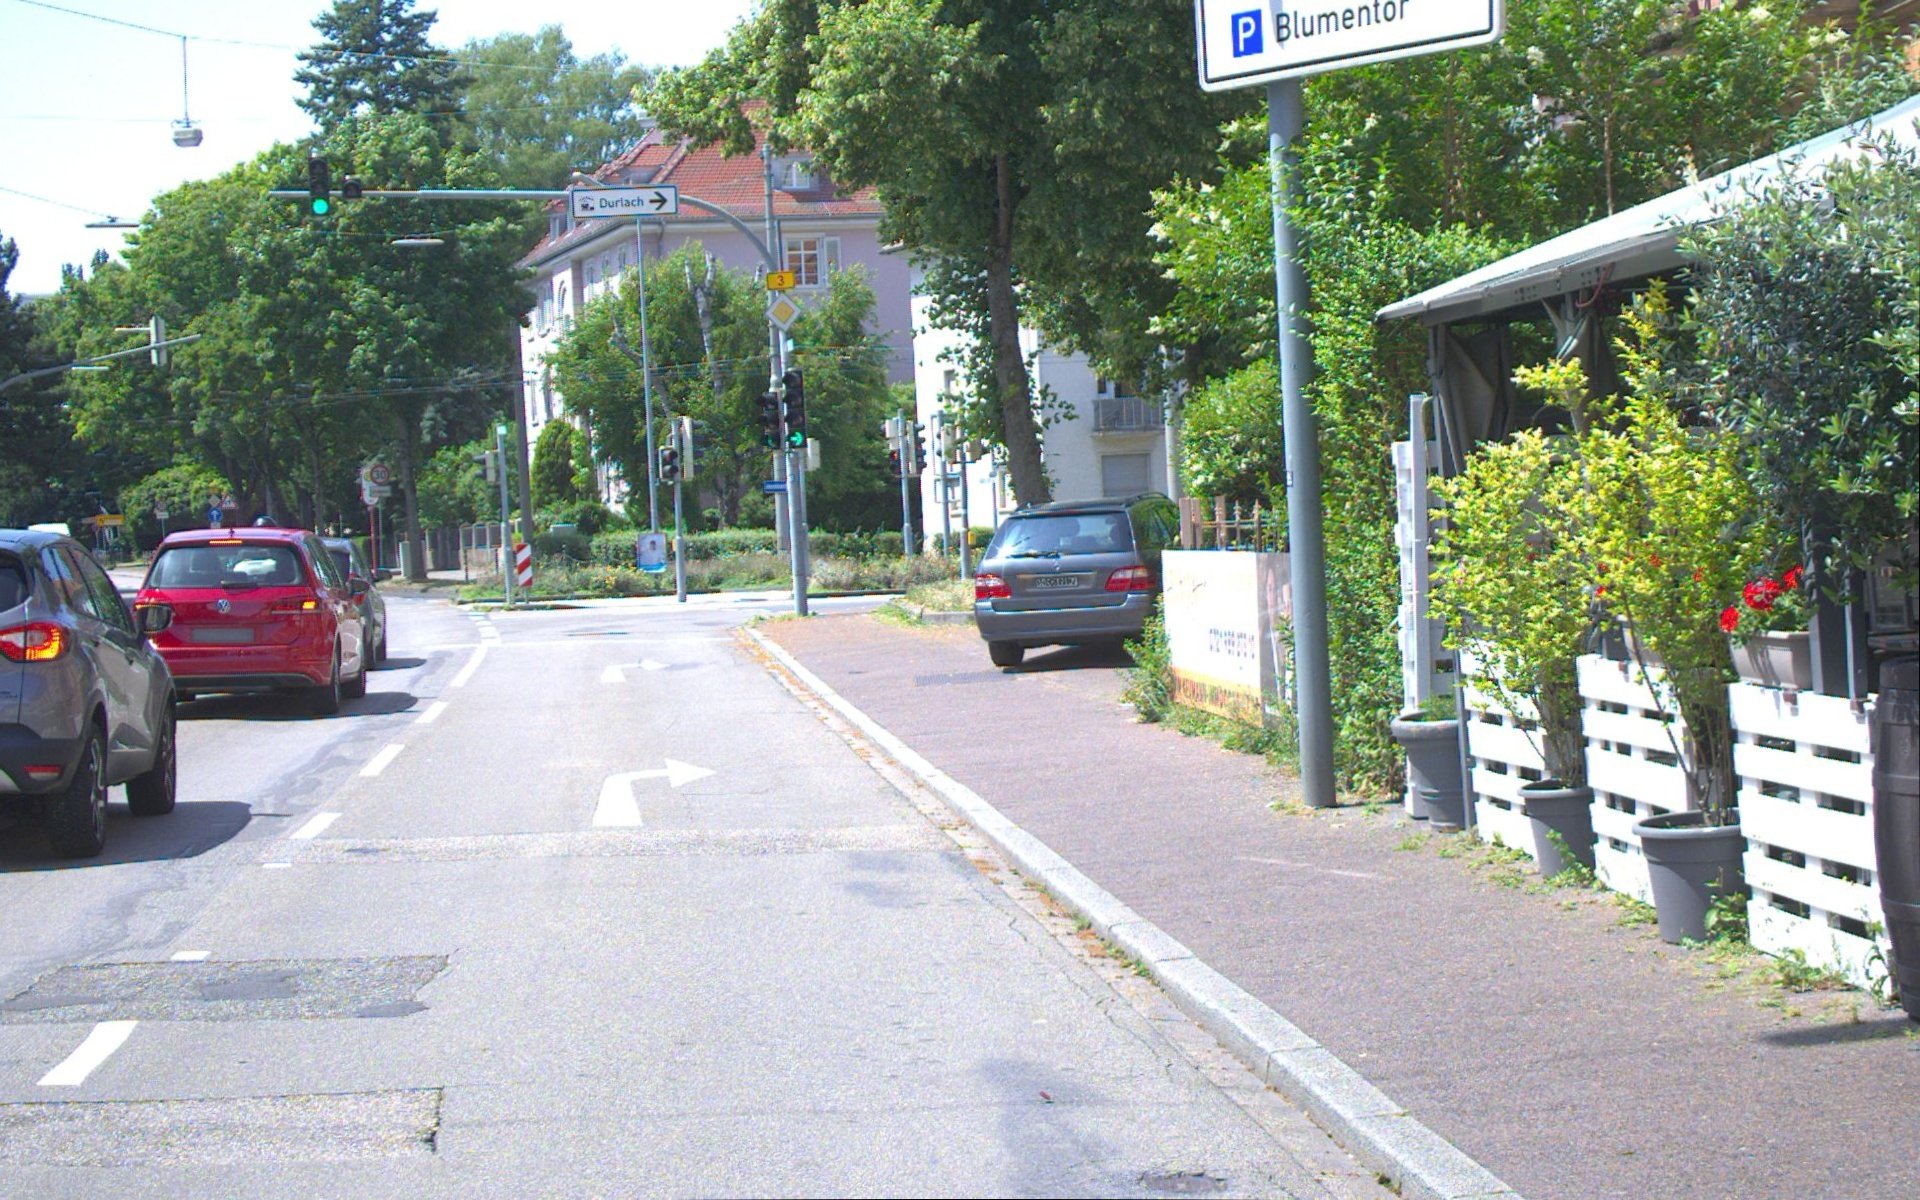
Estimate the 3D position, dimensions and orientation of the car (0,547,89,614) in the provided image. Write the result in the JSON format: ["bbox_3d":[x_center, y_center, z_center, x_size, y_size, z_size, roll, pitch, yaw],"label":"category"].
[{"bbox_3d":[-21.839,-0.445,81.387,1.993,1.514,4.001,-2,0,-19],"label":"car"}]

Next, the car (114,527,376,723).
[{"bbox_3d":[-6.189,0.170,30.142,1.798,1.552,4.038,-2,1,-6],"label":"car"}]

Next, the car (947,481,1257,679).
[{"bbox_3d":[1.454,-0.255,32.634,1.835,1.543,5.154,-3,2,14],"label":"car"}]

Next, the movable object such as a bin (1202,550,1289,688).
[{"bbox_3d":[2.293,0.148,27.612,0.649,1.067,0.637,-2,1,5],"label":"movable object such as a bin"}]

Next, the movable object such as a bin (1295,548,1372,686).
[{"bbox_3d":[2.990,0.131,27.553,0.552,1.067,0.705,-2,1,4],"label":"movable object such as a bin"}]

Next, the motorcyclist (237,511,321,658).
[{"bbox_3d":[-6.879,-0.168,34.770,0.711,1.440,1.019,-2,1,-7],"label":"motorcyclist"}]

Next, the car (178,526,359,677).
[{"bbox_3d":[-7.763,-0.022,38.877,1.798,1.552,4.038,-2,1,-9],"label":"car"}]

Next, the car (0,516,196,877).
[{"bbox_3d":[-5.072,0.411,17.507,1.753,1.626,4.001,-2,1,-5],"label":"car"}]
